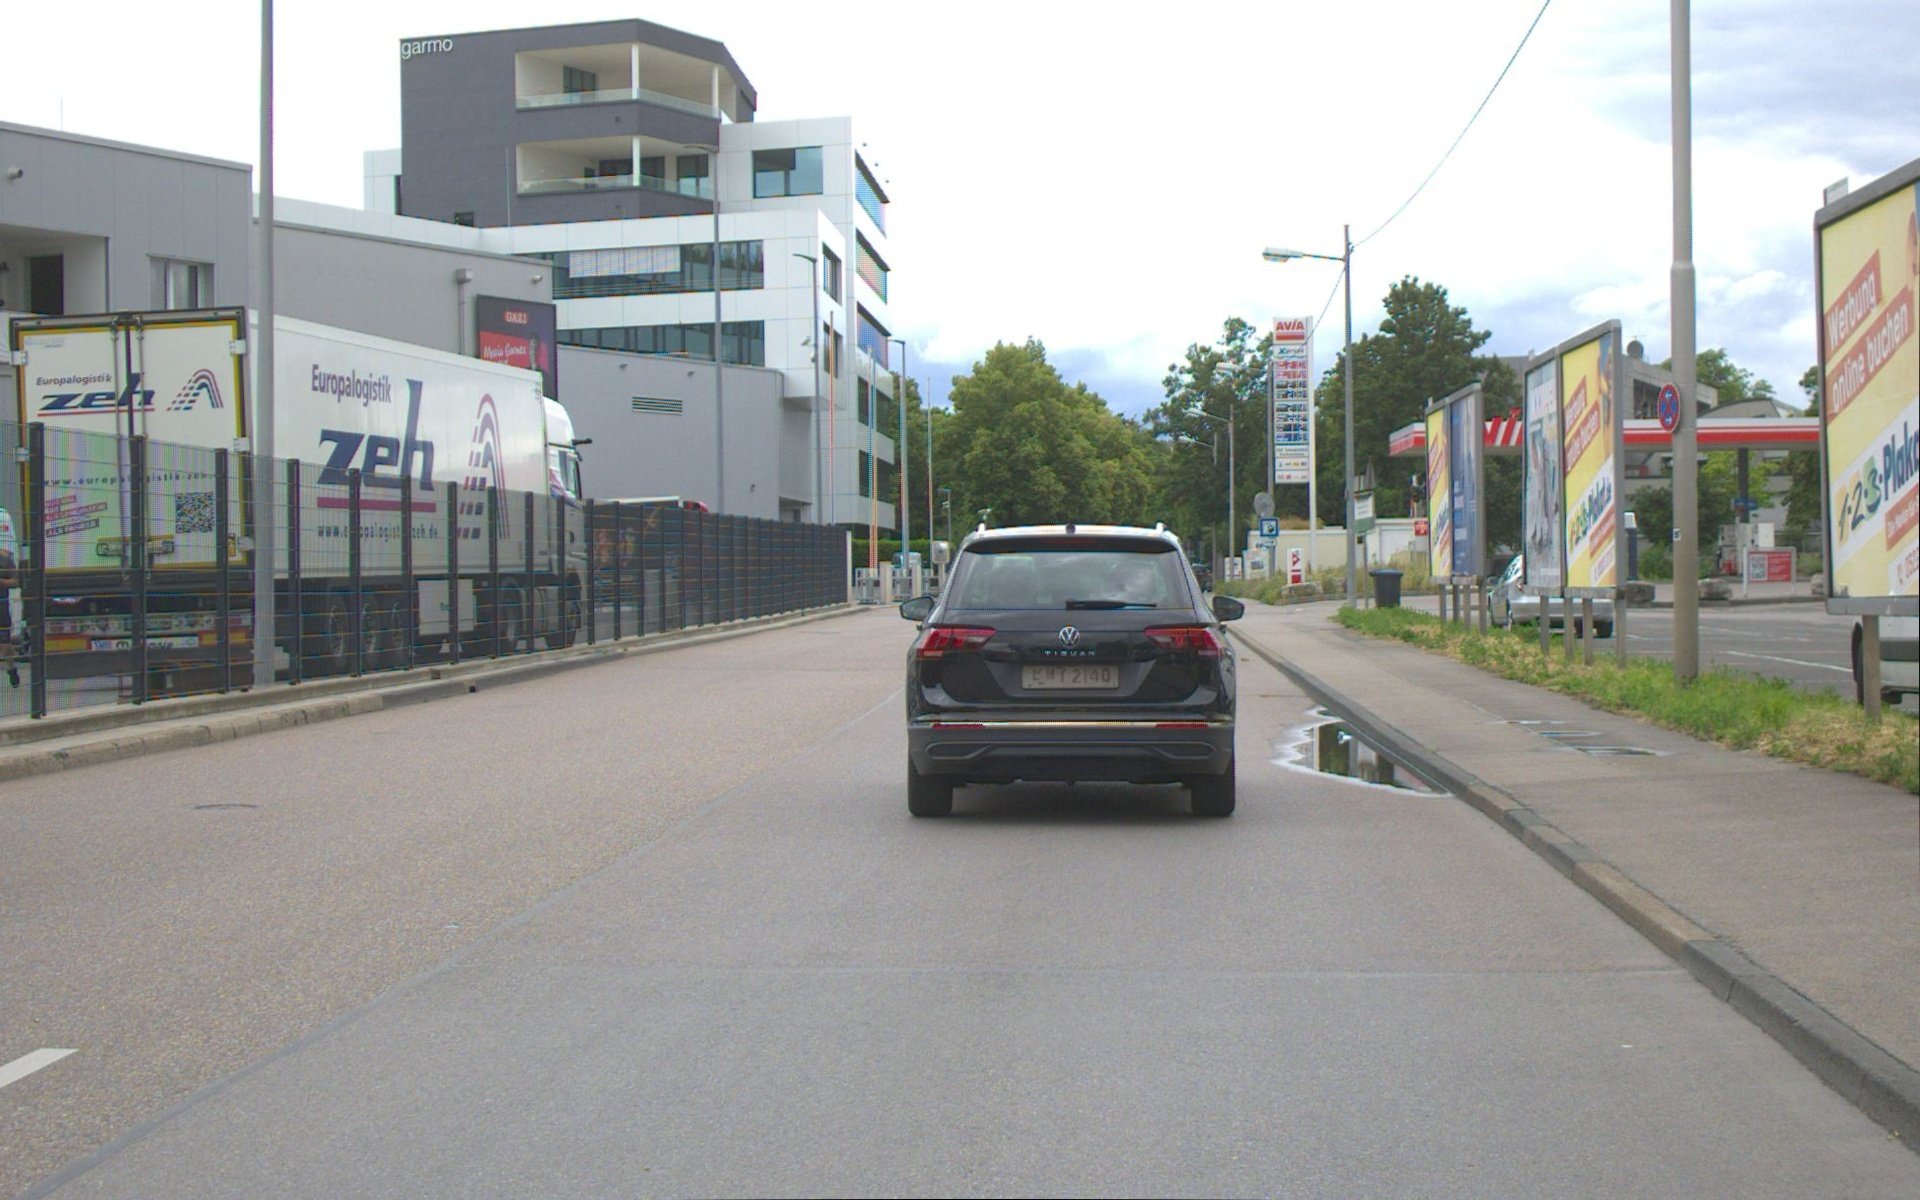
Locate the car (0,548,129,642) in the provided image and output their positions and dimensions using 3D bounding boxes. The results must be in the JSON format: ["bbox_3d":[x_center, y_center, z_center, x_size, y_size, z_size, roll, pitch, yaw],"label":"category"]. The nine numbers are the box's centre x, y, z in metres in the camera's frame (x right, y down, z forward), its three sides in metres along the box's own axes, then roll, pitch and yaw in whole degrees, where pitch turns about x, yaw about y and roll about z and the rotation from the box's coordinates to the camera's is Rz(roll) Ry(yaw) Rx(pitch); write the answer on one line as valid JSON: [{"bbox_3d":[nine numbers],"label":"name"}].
[{"bbox_3d":[-16.466,-0.088,58.704,3.991,1.547,1.998,0,1,23],"label":"car"}]

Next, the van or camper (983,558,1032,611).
[{"bbox_3d":[2.079,-0.703,149.284,1.994,2.248,4.000,0,1,3],"label":"van or camper"}]

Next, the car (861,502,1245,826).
[{"bbox_3d":[0.597,0.318,20.116,1.994,1.678,4.371,0,0,3],"label":"car"}]

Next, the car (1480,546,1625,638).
[{"bbox_3d":[9.975,-0.157,58.168,1.890,1.440,4.428,2,1,3],"label":"car"}]

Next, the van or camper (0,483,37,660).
[{"bbox_3d":[-17.346,-0.430,54.473,4.977,2.753,2.102,0,1,22],"label":"van or camper"}]

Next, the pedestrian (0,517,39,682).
[{"bbox_3d":[-10.815,-0.008,38.499,0.698,1.823,0.824,0,1,7],"label":"pedestrian"}]

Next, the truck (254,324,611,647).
[{"bbox_3d":[-7.429,-1.569,49.534,3.128,4.103,6.940,-4,0,6],"label":"truck"}]

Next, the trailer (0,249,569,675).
[{"bbox_3d":[-8.078,-1.525,43.088,3.134,4.246,14.016,-4,0,6],"label":"trailer"}]

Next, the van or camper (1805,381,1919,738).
[{"bbox_3d":[8.328,-0.327,27.019,2.256,2.638,6.113,-1,1,4],"label":"van or camper"}]

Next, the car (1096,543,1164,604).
[{"bbox_3d":[5.167,-0.816,104.878,1.993,1.744,4.000,-1,2,2],"label":"car"}]
